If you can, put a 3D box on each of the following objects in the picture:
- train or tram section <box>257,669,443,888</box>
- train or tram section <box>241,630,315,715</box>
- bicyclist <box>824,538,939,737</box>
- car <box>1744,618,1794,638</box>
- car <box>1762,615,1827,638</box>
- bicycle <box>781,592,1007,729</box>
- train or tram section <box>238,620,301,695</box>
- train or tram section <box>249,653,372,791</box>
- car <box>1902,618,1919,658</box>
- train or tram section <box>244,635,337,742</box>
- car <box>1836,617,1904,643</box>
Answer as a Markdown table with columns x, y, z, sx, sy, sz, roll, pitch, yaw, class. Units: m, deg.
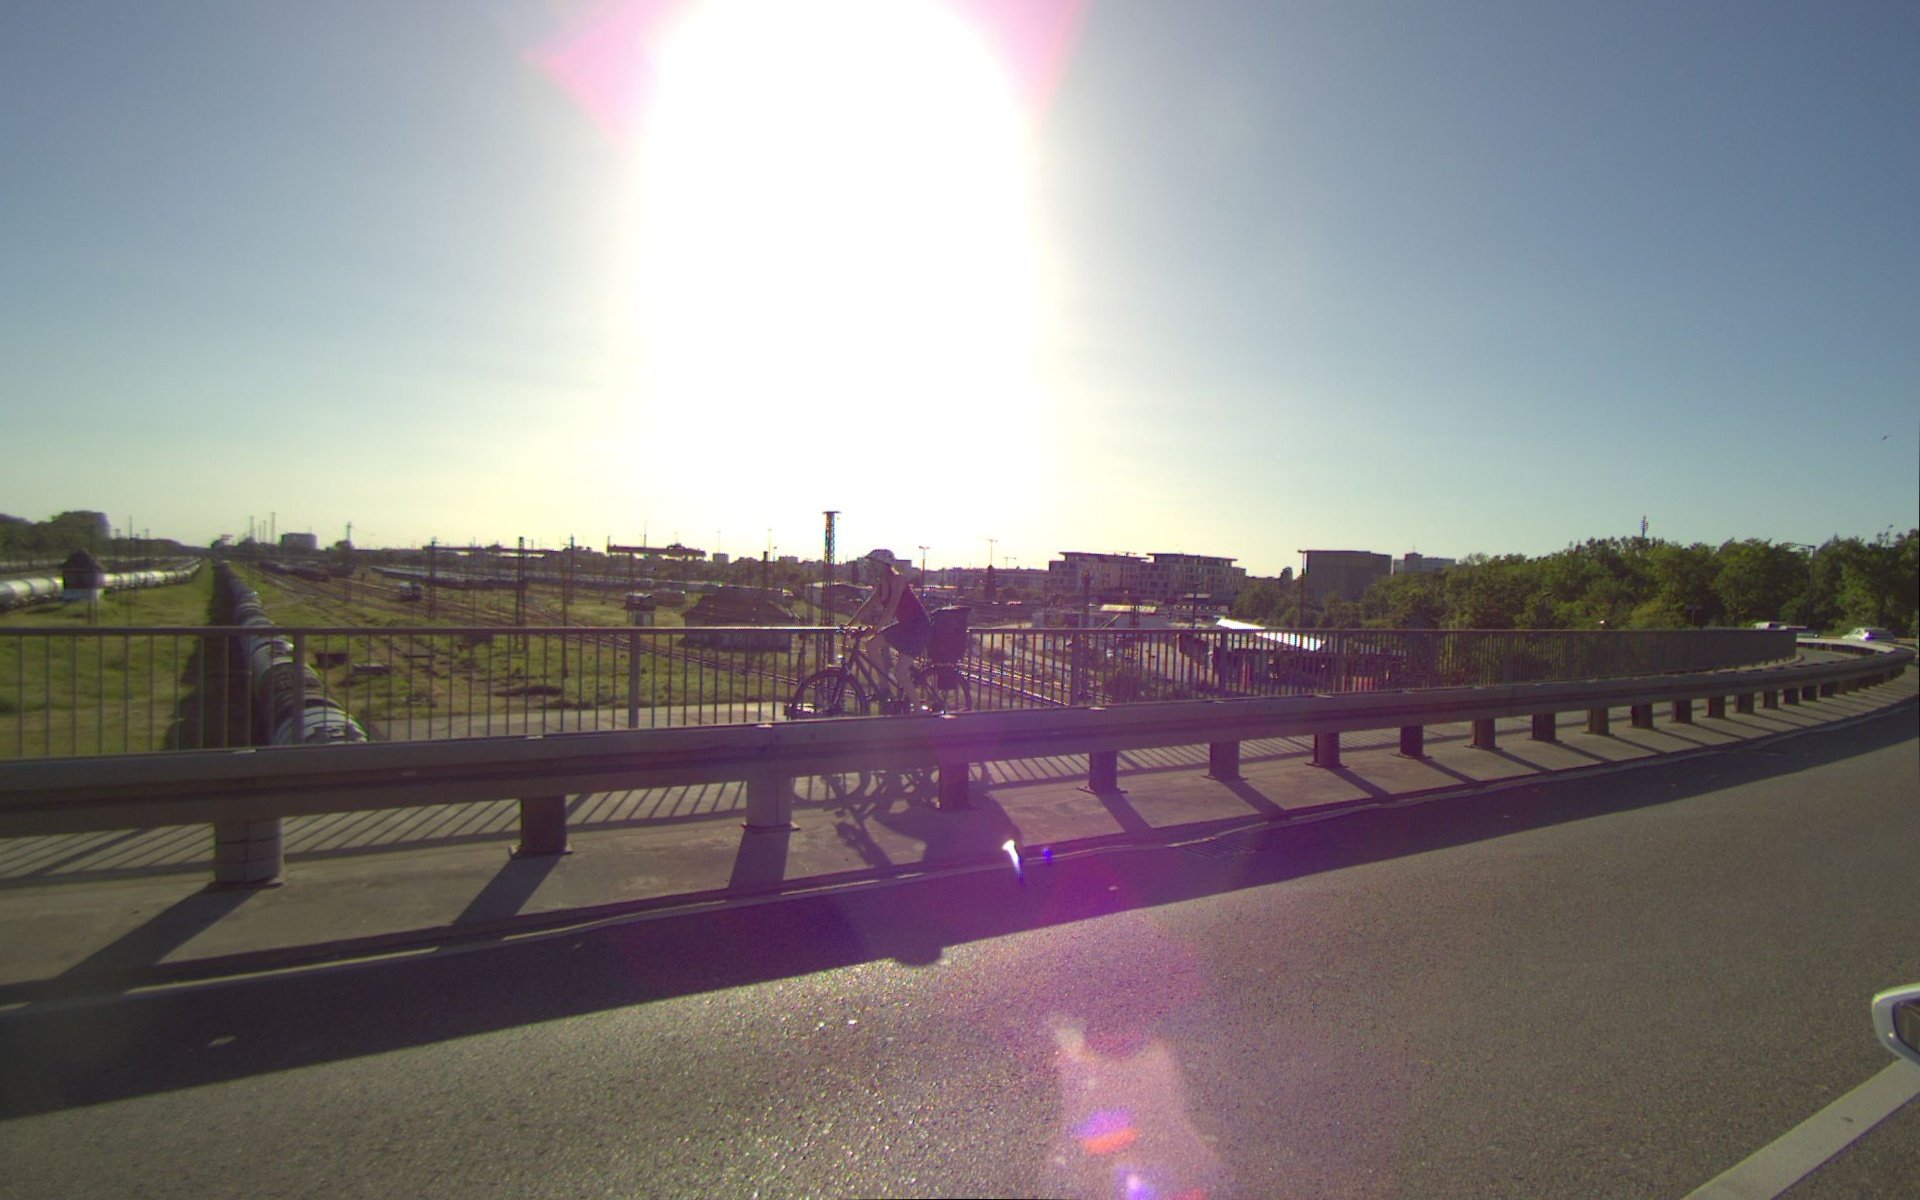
| x | y | z | sx | sy | sz | roll | pitch | yaw | class |
| --- | --- | --- | --- | --- | --- | --- | --- | --- | --- |
| -21.053 | 5.152 | 33.818 | 3.869 | 4.652 | 16.595 | 1 | -1 | -36 | train or tram section |
| -50.033 | 4.975 | 73.387 | 3.869 | 5.083 | 16.197 | 1 | -1 | -36 | train or tram section |
| -0.681 | 0.310 | 8.632 | 0.759 | 1.610 | 0.650 | 1 | 0 | -32 | bicyclist |
| 66.402 | 2.293 | 82.533 | 1.804 | 1.576 | 3.895 | 1 | 0 | 15 | car |
| 57.684 | 1.821 | 69.509 | 1.805 | 1.539 | 3.772 | 1 | 0 | 11 | car |
| -0.544 | 0.492 | 8.701 | 1.869 | 1.079 | 0.650 | 1 | 0 | -32 | bicycle |
| -59.640 | 4.688 | 86.504 | 3.869 | 5.592 | 16.334 | 1 | 0 | -36 | train or tram section |
| -30.748 | 5.195 | 47.032 | 3.869 | 4.652 | 16.143 | 1 | -1 | -36 | train or tram section |
| 41.195 | 1.606 | 42.098 | 1.823 | 1.645 | 4.090 | 0 | -1 | 34 | car |
| -40.396 | 4.916 | 60.207 | 3.869 | 5.083 | 16.495 | 1 | -1 | -36 | train or tram section |
| 59.511 | 1.933 | 65.781 | 1.828 | 1.606 | 3.915 | 1 | 0 | 18 | car |
